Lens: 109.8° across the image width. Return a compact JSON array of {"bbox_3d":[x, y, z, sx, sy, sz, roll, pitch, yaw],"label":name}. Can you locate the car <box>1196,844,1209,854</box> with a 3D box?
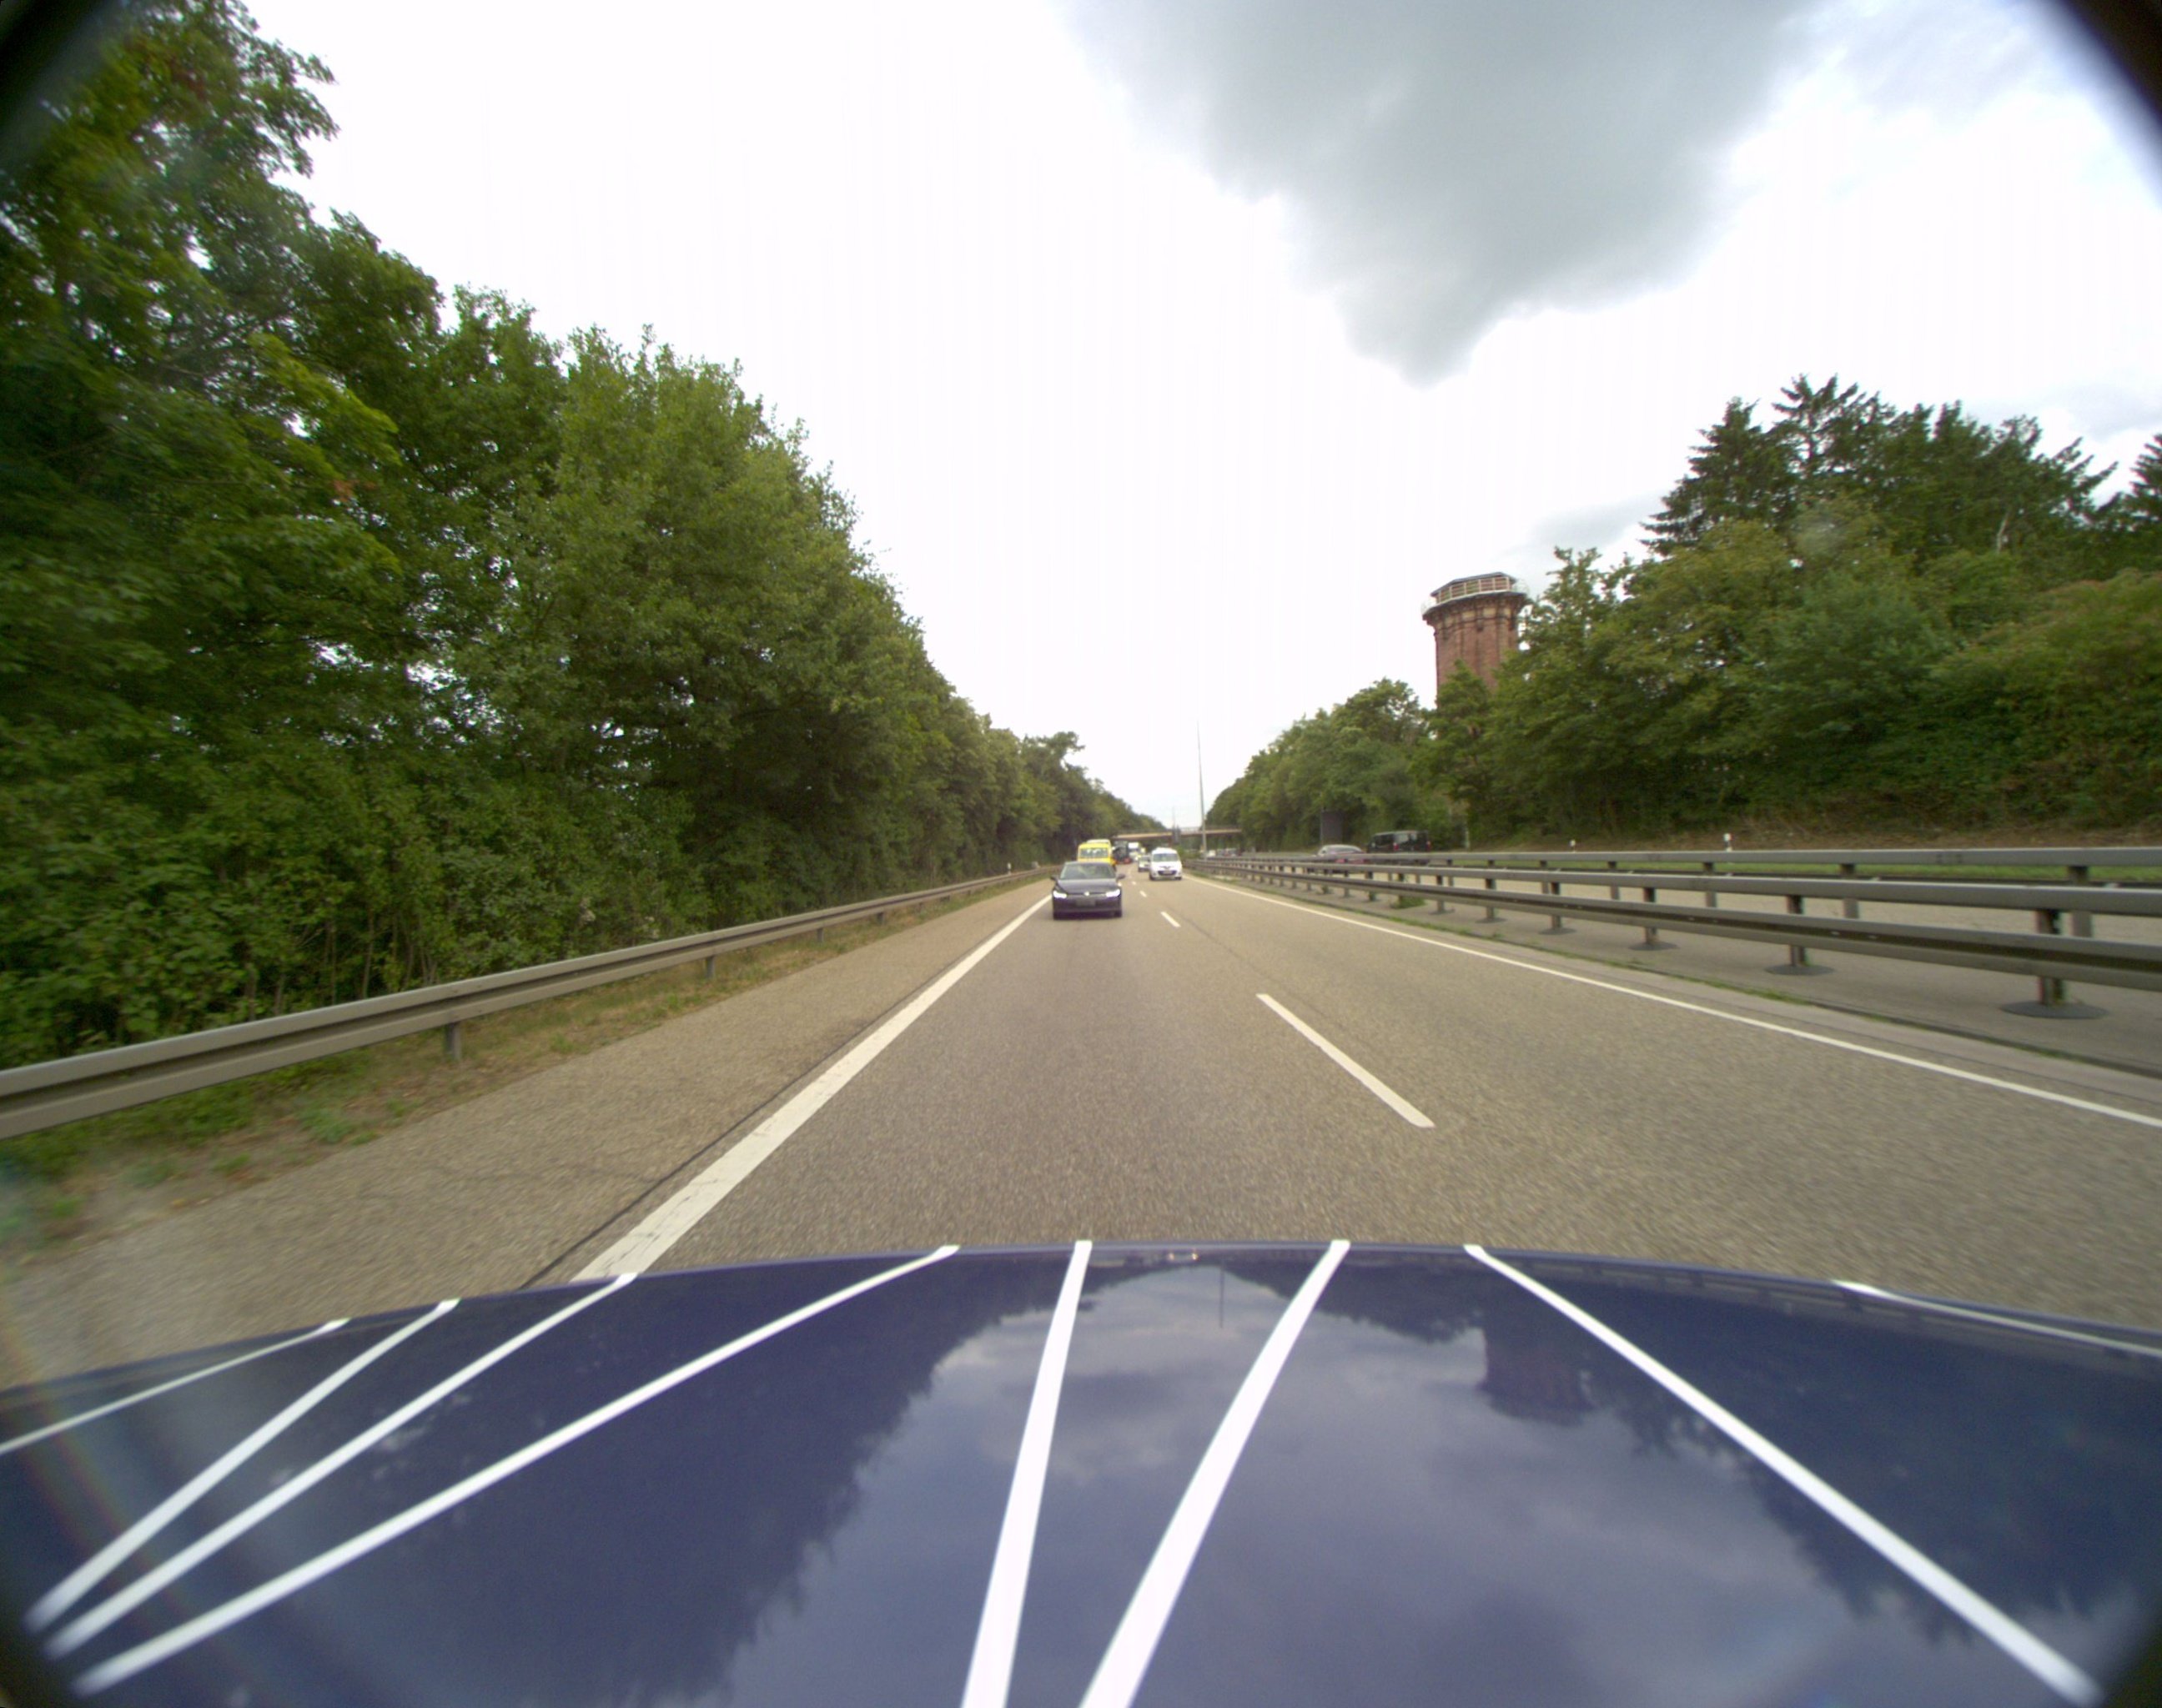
[{"bbox_3d":[18.526,-0.753,116.096,1.715,1.418,4.058,-2,1,5],"label":"car"}]

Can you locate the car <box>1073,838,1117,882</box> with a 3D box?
[{"bbox_3d":[0.887,0.316,44.247,2.247,2.334,5.225,-2,1,4],"label":"car"}]

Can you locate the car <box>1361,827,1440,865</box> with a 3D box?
[{"bbox_3d":[16.577,-0.430,39.723,2.040,1.793,5.123,-2,1,1],"label":"car"}]

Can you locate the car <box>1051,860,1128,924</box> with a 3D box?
[{"bbox_3d":[0.163,0.925,20.470,1.801,1.398,4.638,-2,1,-1],"label":"car"}]

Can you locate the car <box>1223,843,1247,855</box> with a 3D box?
[{"bbox_3d":[17.623,-0.624,86.977,1.982,1.292,4.068,-2,1,1],"label":"car"}]

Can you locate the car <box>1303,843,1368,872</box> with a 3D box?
[{"bbox_3d":[12.246,0.117,36.867,1.659,1.271,4.713,-2,0,1],"label":"car"}]

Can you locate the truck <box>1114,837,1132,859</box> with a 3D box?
[{"bbox_3d":[7.178,-0.974,128.429,2.547,3.564,6.459,-2,1,6],"label":"truck"}]

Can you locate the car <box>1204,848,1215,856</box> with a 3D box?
[{"bbox_3d":[25.642,-0.365,151.514,1.632,1.499,3.729,-2,1,4],"label":"car"}]

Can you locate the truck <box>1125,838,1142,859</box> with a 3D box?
[{"bbox_3d":[11.580,-1.243,167.442,3.098,4.462,12.214,-2,1,6],"label":"truck"}]

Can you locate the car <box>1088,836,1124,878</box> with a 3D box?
[{"bbox_3d":[1.808,0.180,53.077,2.207,2.732,6.169,-2,1,4],"label":"car"}]

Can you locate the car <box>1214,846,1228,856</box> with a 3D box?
[{"bbox_3d":[23.632,-0.493,128.536,1.735,1.592,4.132,-2,1,3],"label":"car"}]

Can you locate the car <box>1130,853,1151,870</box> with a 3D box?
[{"bbox_3d":[5.424,0.699,69.009,1.771,1.416,4.200,-2,1,6],"label":"car"}]

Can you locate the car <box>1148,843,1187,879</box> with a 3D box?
[{"bbox_3d":[5.062,0.397,45.019,1.821,1.993,4.423,-2,1,1],"label":"car"}]
